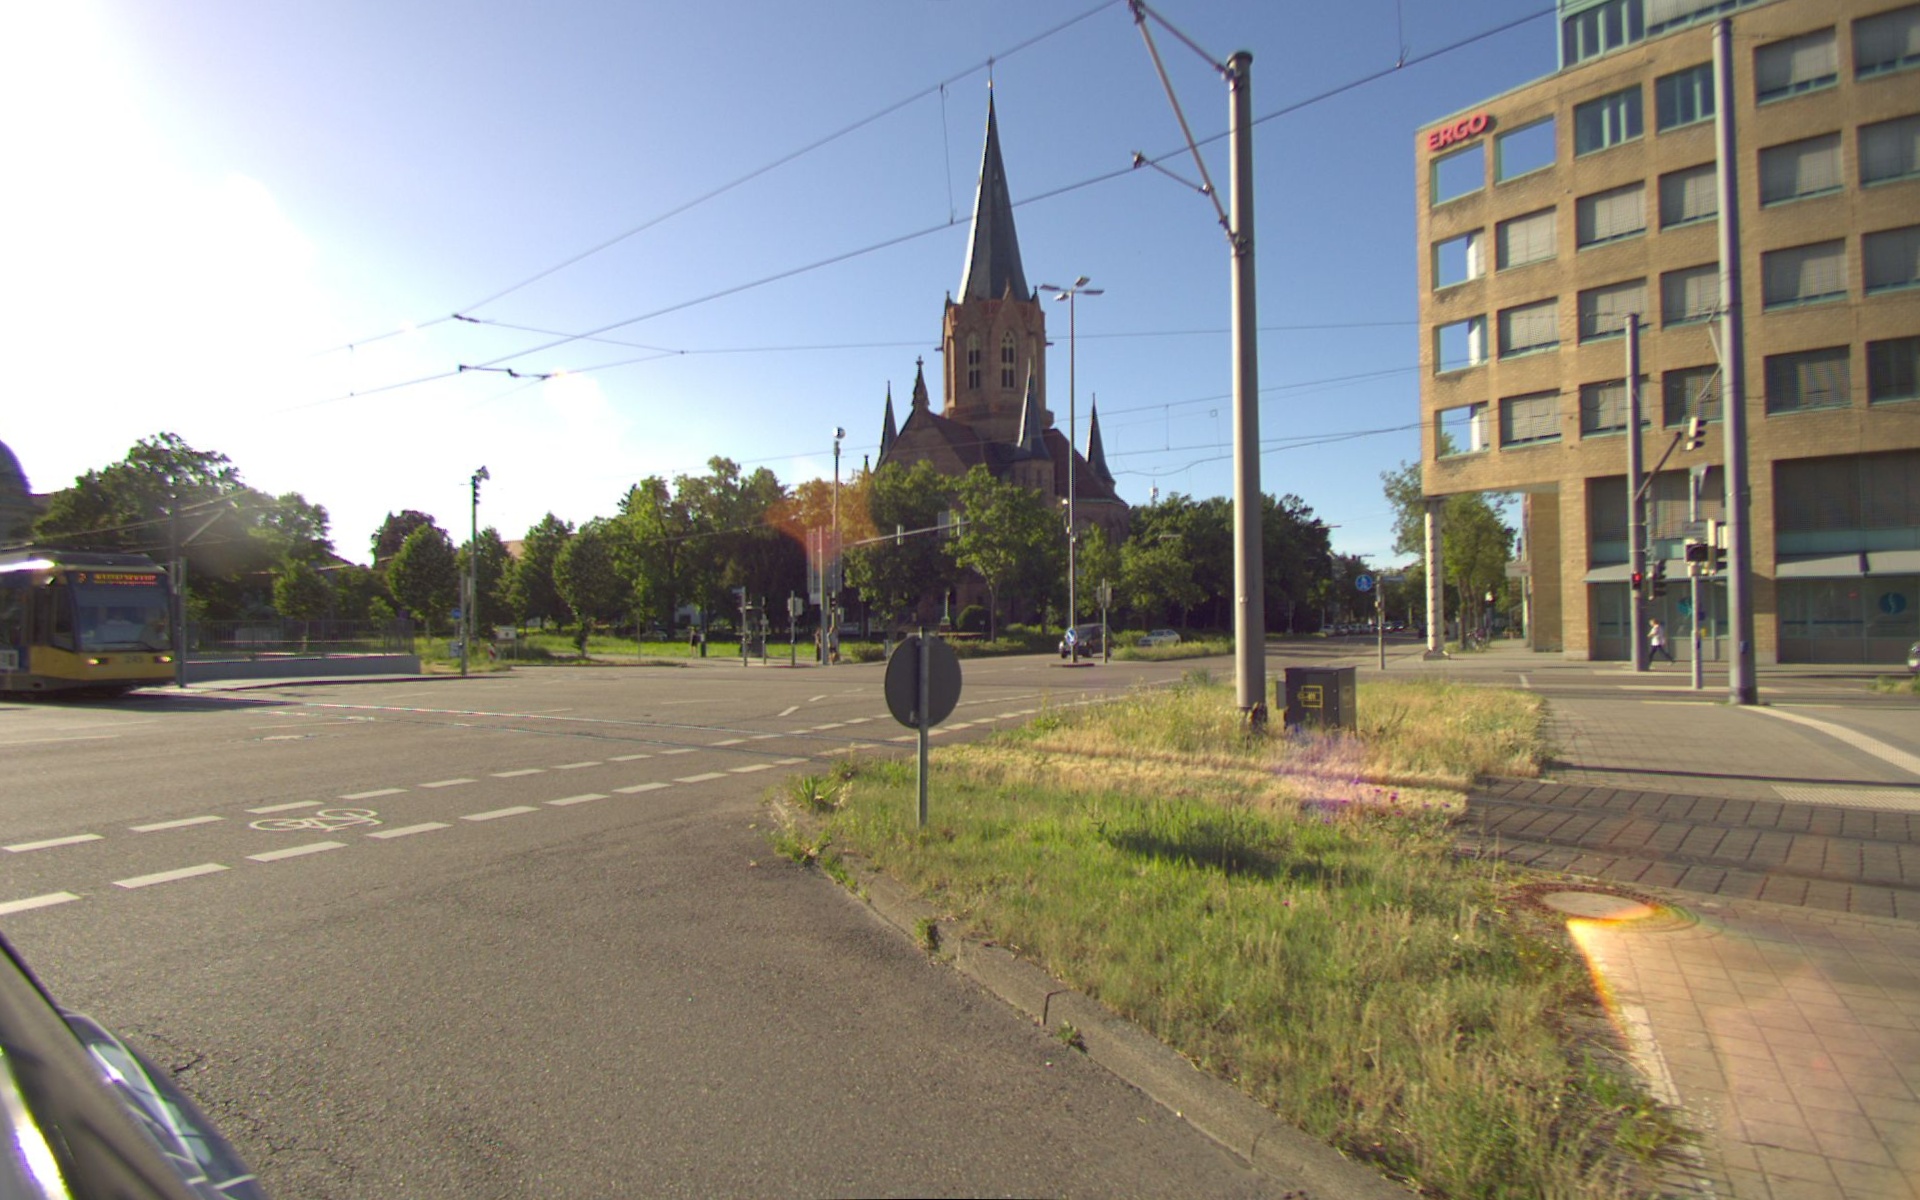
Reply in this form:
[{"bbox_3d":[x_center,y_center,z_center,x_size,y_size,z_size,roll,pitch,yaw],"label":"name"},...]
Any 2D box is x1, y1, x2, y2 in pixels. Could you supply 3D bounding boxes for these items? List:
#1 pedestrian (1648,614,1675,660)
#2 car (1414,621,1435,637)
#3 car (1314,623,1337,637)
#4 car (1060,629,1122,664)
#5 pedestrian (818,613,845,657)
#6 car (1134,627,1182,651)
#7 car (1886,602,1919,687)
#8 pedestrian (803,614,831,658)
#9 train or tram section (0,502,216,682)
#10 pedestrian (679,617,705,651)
[{"bbox_3d":[23.862,1.246,34.407,0.711,1.543,0.591,-1,1,37],"label":"pedestrian"},{"bbox_3d":[52.390,3.292,114.127,1.830,1.586,3.905,-1,1,29],"label":"car"},{"bbox_3d":[46.821,3.786,129.678,1.834,1.586,3.896,-1,1,36],"label":"car"},{"bbox_3d":[6.938,2.418,53.337,1.831,1.586,3.903,-1,1,30],"label":"car"},{"bbox_3d":[-6.075,1.665,47.953,0.921,2.029,0.870,-1,0,30],"label":"pedestrian"},{"bbox_3d":[14.992,2.913,76.507,1.765,1.586,4.657,-1,1,36],"label":"car"},{"bbox_3d":[22.268,0.856,20.243,5.061,1.747,2.087,-2,-1,28],"label":"car"},{"bbox_3d":[-6.635,1.665,47.041,0.921,2.029,0.870,-1,0,30],"label":"pedestrian"},{"bbox_3d":[-23.669,0.025,25.252,13.123,3.713,2.930,-2,-1,29],"label":"train or tram section"},{"bbox_3d":[-15.004,1.876,56.652,1.109,1.860,0.837,-1,0,27],"label":"pedestrian"}]
